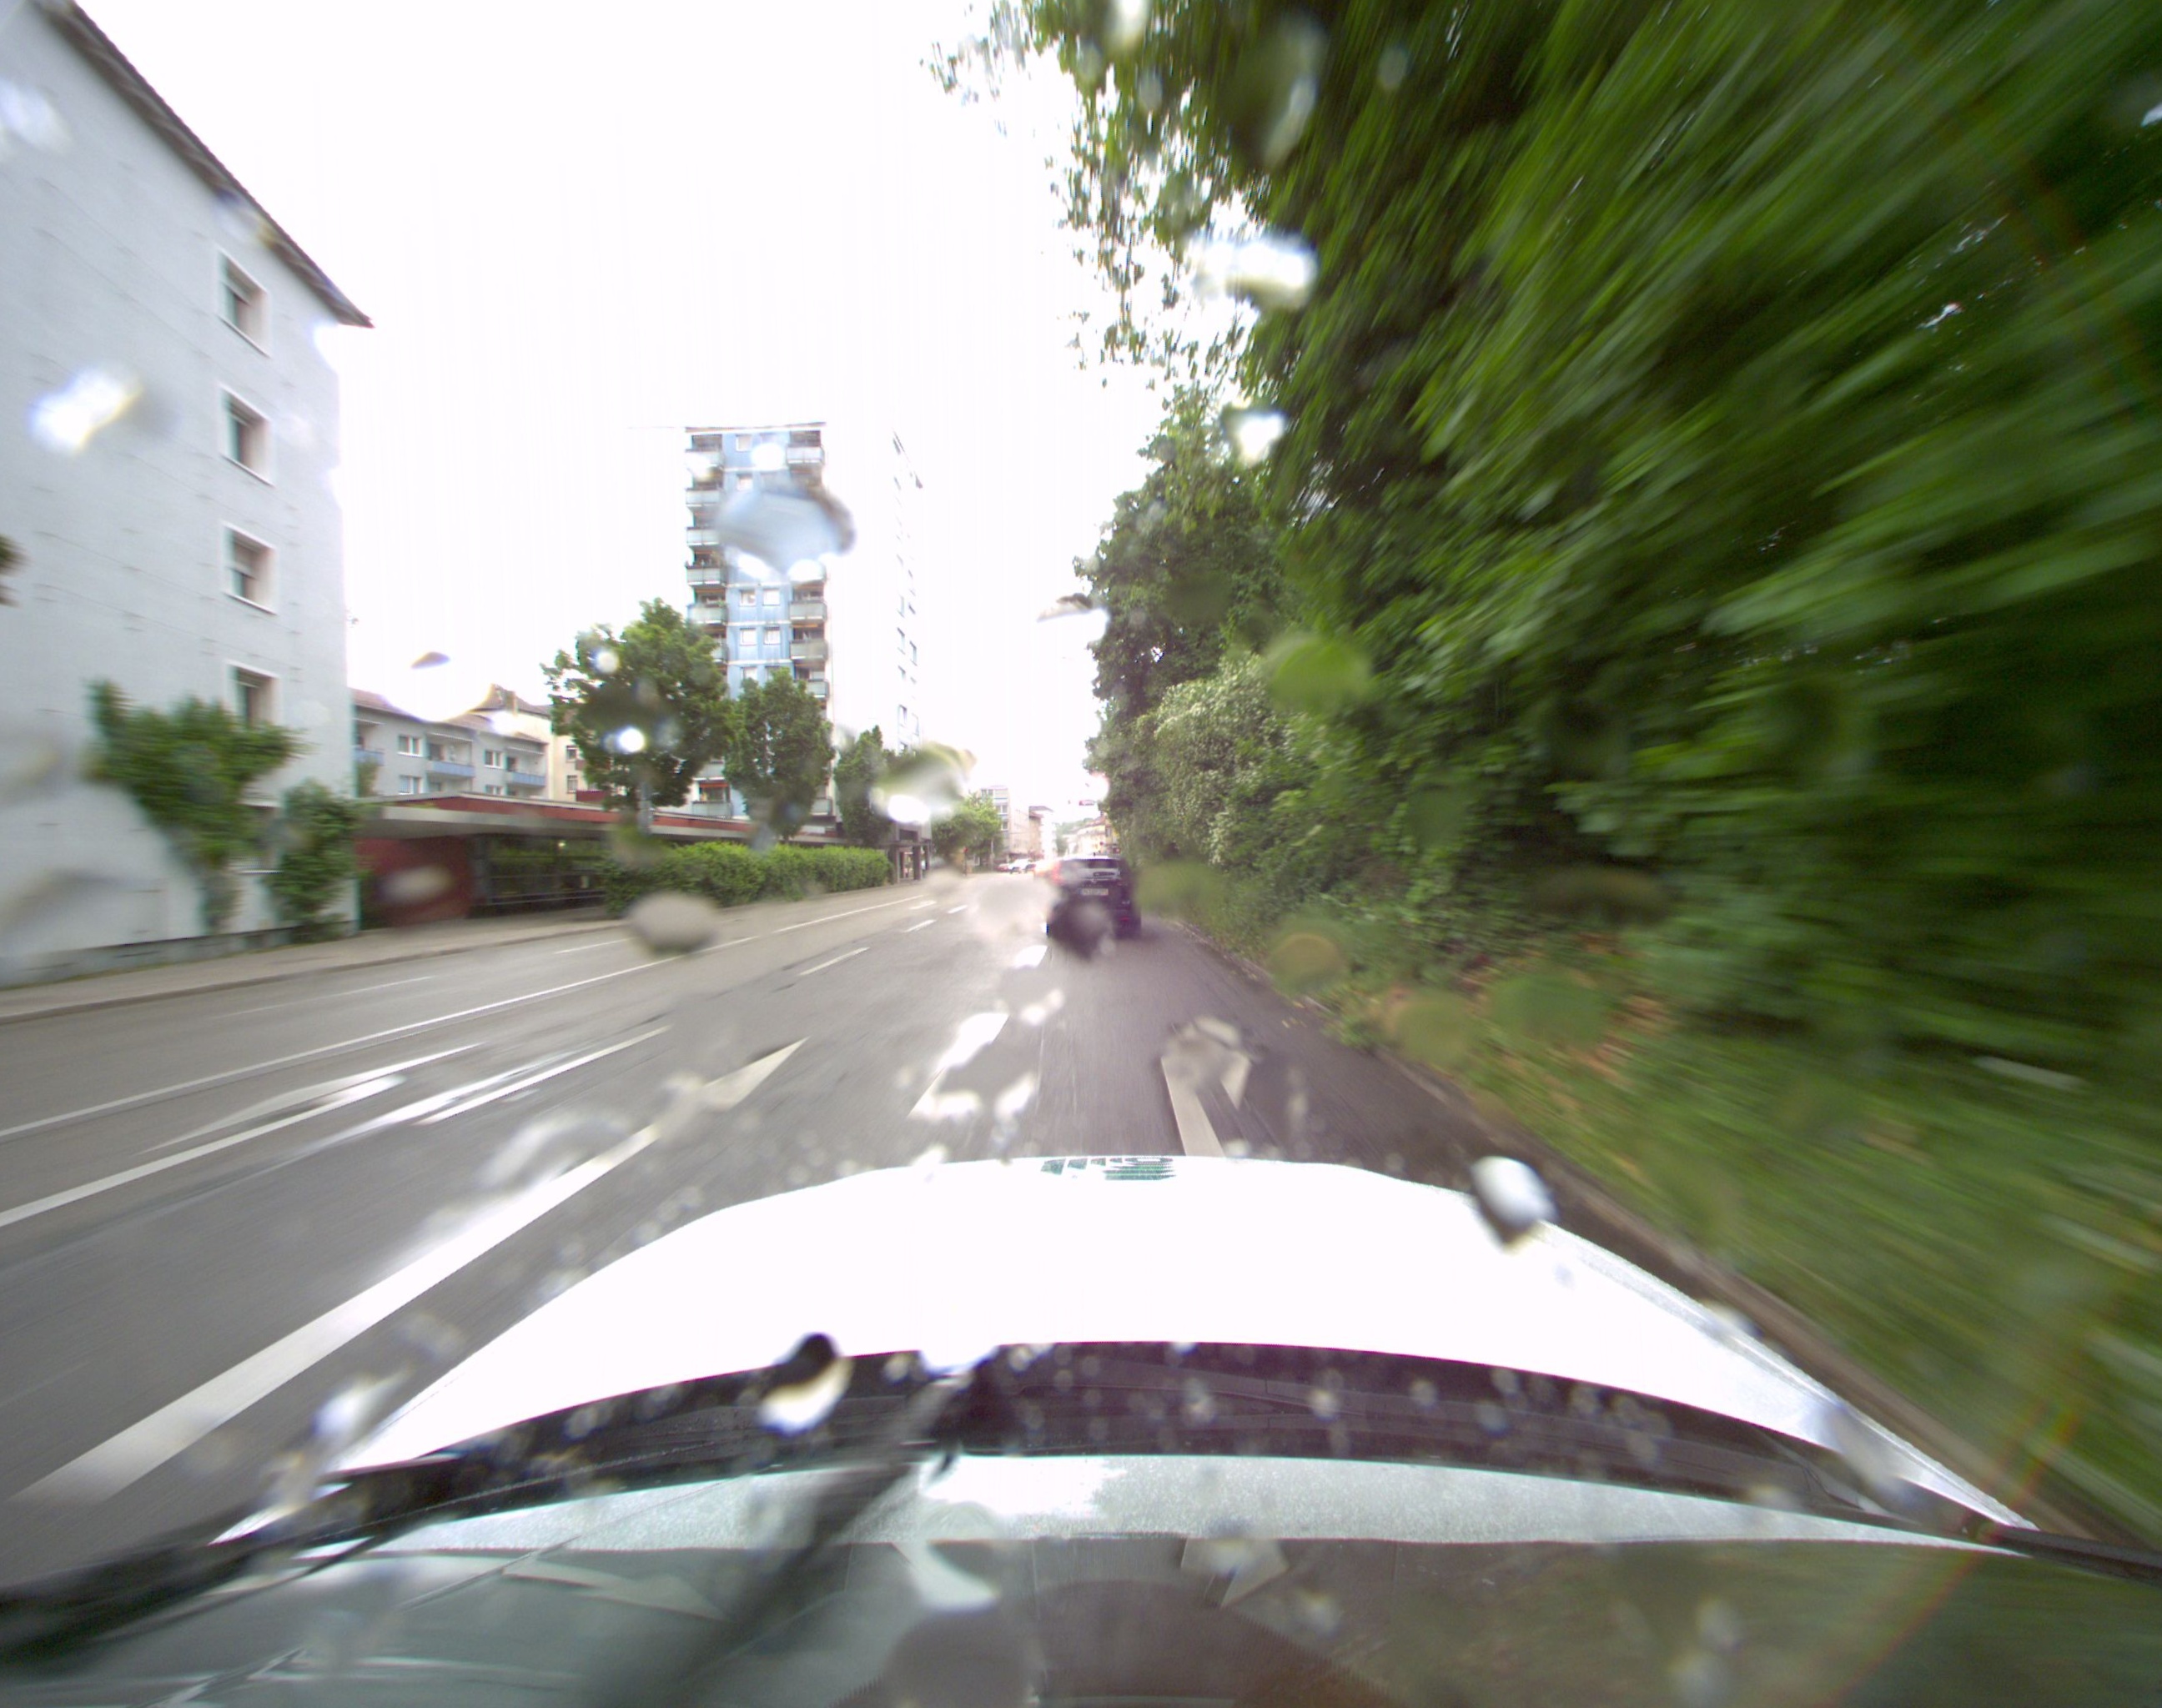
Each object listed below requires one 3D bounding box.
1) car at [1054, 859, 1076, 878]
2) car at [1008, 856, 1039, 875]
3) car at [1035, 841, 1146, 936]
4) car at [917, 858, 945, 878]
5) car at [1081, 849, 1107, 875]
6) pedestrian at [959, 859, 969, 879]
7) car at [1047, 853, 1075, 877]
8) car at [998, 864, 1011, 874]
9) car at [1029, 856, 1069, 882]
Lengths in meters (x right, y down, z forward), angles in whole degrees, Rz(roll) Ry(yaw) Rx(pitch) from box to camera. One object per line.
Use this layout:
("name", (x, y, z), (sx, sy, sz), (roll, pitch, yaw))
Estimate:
("car", (-1.220, 1.090, 63.224), (1.607, 1.420, 3.966), (-1, 0, 0))
("car", (-6.007, 1.179, 85.303), (1.981, 1.750, 4.822), (-2, 0, 11))
("car", (0.182, 0.630, 16.746), (1.953, 1.653, 3.999), (-2, 0, 0))
("car", (-13.227, 1.178, 72.047), (1.533, 1.706, 4.288), (-1, 0, 1))
("car", (1.058, 0.607, 67.215), (1.987, 2.013, 3.999), (-2, 0, 0))
("pedestrian", (-12.478, 1.621, 86.893), (0.940, 2.013, 0.884), (-3, -1, -8))
("car", (-1.367, 0.741, 56.516), (1.738, 1.487, 4.162), (-2, 0, 1))
("car", (-12.165, 2.318, 130.039), (1.667, 1.478, 3.607), (-3, -1, -1))
("car", (-1.911, 0.877, 49.636), (2.058, 1.464, 4.588), (-2, 0, 2))
